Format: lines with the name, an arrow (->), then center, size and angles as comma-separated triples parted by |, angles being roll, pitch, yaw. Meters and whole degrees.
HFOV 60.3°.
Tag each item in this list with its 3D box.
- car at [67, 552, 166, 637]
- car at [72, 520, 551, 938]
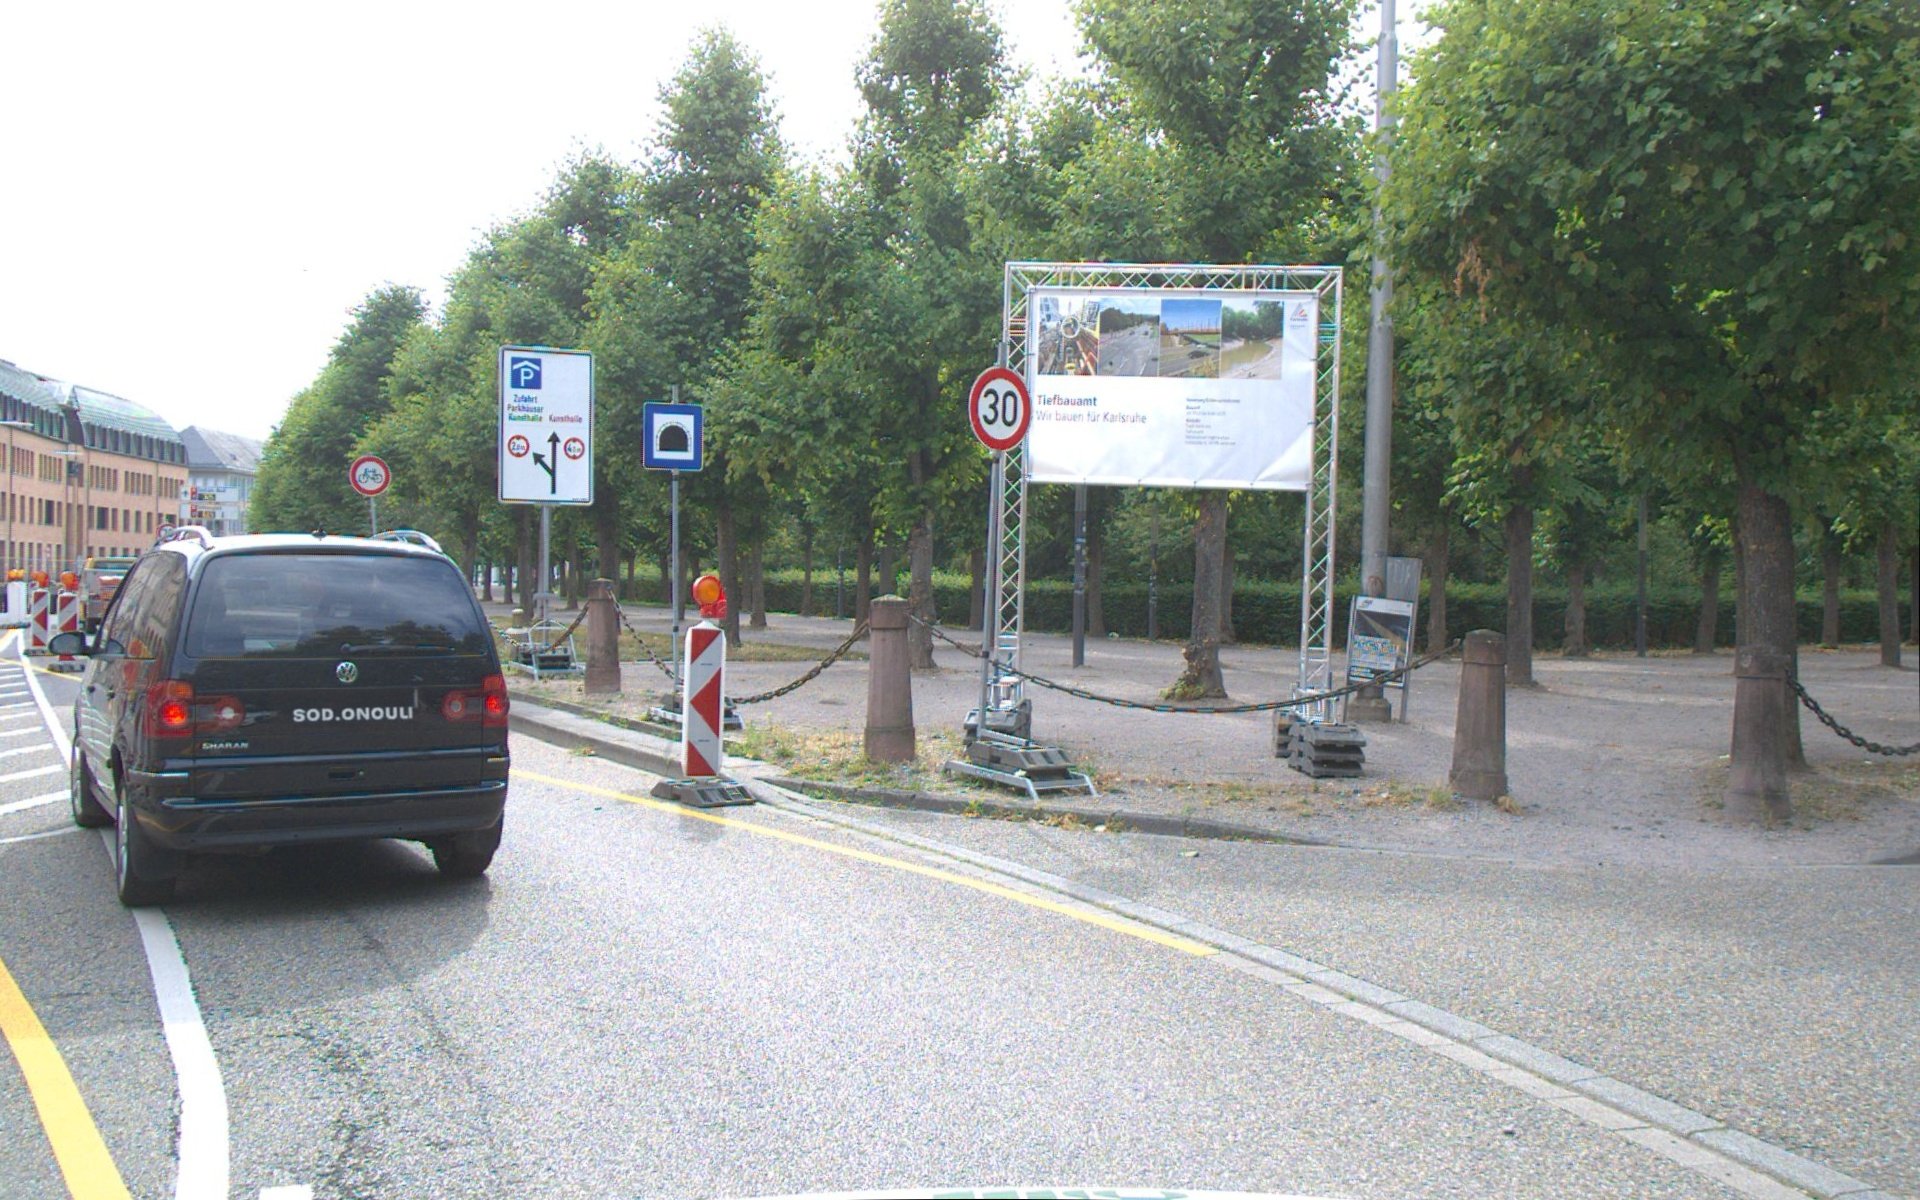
car -> -22.739, -0.190, 44.502 | 1.975, 2.048, 4.298 | 0, 3, -32
car -> -3.748, 0.500, 9.088 | 1.776, 1.738, 4.086 | 0, 1, -32
